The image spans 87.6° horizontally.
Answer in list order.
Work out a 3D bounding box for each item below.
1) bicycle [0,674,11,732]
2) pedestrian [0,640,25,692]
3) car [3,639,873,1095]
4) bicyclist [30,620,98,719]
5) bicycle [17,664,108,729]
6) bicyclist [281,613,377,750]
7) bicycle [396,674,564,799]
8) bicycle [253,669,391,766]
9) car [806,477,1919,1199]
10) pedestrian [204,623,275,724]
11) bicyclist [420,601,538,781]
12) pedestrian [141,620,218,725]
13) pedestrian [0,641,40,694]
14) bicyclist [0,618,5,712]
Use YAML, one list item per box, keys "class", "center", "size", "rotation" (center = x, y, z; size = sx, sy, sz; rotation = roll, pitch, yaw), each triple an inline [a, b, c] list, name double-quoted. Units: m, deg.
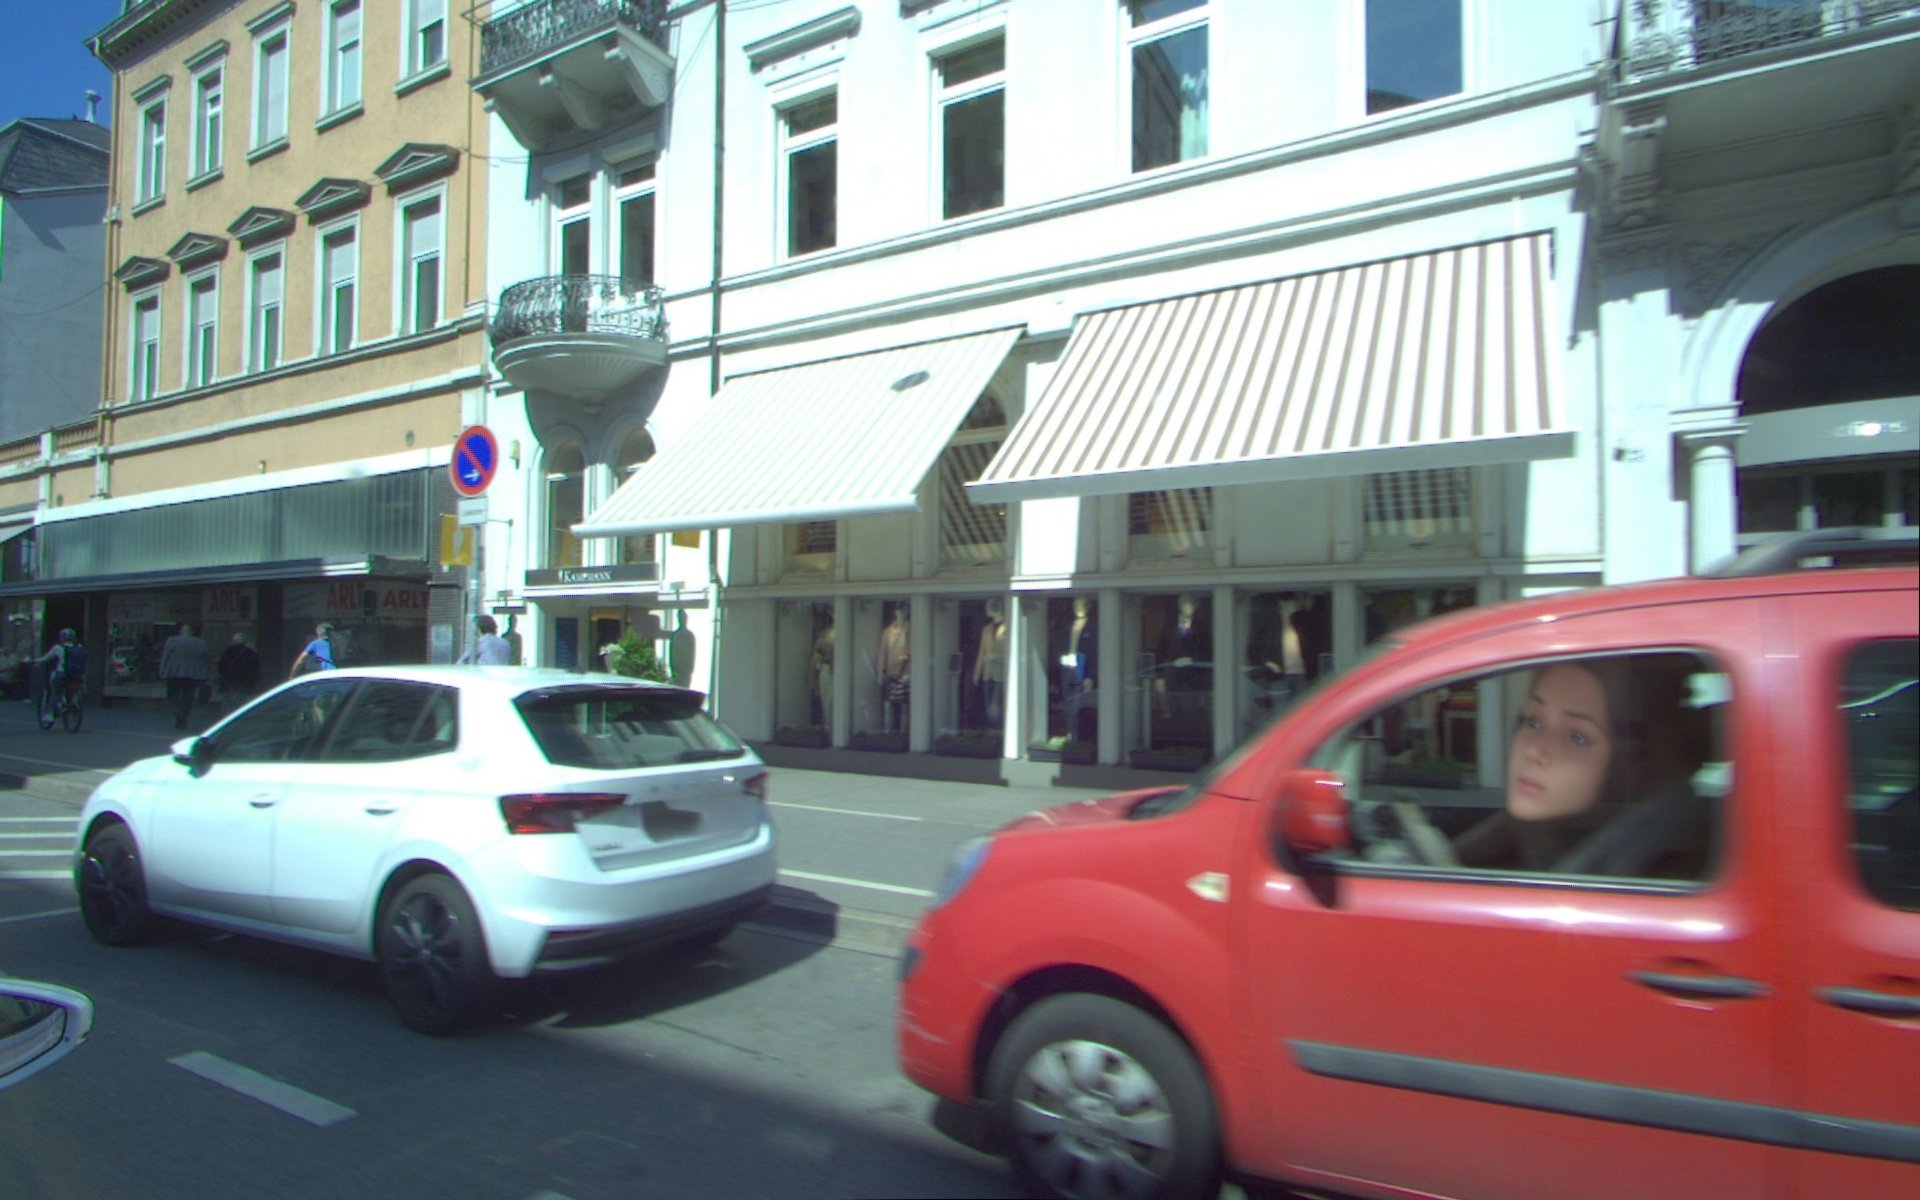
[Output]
- class: "bicycle"
  center: [-15.988, 1.621, 16.021]
  size: [2.072, 0.890, 0.646]
  rotation: [-1, -2, 32]
- class: "pedestrian"
  center: [-24.433, 1.684, 25.415]
  size: [0.560, 1.285, 0.933]
  rotation: [-1, 0, 36]
- class: "car"
  center: [-2.880, 1.043, 5.364]
  size: [4.507, 1.484, 1.814]
  rotation: [0, -4, 27]
- class: "bicyclist"
  center: [-15.045, 1.151, 16.811]
  size: [0.907, 1.615, 0.582]
  rotation: [-1, -2, 32]
- class: "bicycle"
  center: [-15.086, 1.596, 16.819]
  size: [2.072, 1.009, 0.563]
  rotation: [-1, -2, 32]
- class: "bicyclist"
  center: [-8.245, 1.042, 13.083]
  size: [0.998, 1.706, 0.646]
  rotation: [-1, -2, 31]
- class: "bicycle"
  center: [-5.100, 1.395, 10.596]
  size: [2.041, 1.135, 0.554]
  rotation: [0, 0, 30]
- class: "bicycle"
  center: [-8.375, 1.499, 13.123]
  size: [2.072, 1.134, 0.646]
  rotation: [-1, -2, 31]
- class: "car"
  center: [1.885, 0.779, 2.872]
  size: [4.284, 1.886, 1.829]
  rotation: [0, -4, 26]
- class: "pedestrian"
  center: [-12.522, 1.262, 17.403]
  size: [0.930, 1.706, 0.646]
  rotation: [0, -2, 31]
- class: "bicyclist"
  center: [-5.078, 0.932, 10.570]
  size: [0.998, 1.791, 0.646]
  rotation: [0, -2, 31]
- class: "pedestrian"
  center: [-13.456, 1.225, 17.264]
  size: [0.826, 1.740, 0.874]
  rotation: [-1, -2, 41]
- class: "pedestrian"
  center: [-23.778, 1.675, 25.119]
  size: [0.560, 1.285, 0.933]
  rotation: [-1, 0, 36]
- class: "bicyclist"
  center: [-15.829, 1.033, 15.978]
  size: [0.876, 1.495, 0.624]
  rotation: [-1, -2, 32]
